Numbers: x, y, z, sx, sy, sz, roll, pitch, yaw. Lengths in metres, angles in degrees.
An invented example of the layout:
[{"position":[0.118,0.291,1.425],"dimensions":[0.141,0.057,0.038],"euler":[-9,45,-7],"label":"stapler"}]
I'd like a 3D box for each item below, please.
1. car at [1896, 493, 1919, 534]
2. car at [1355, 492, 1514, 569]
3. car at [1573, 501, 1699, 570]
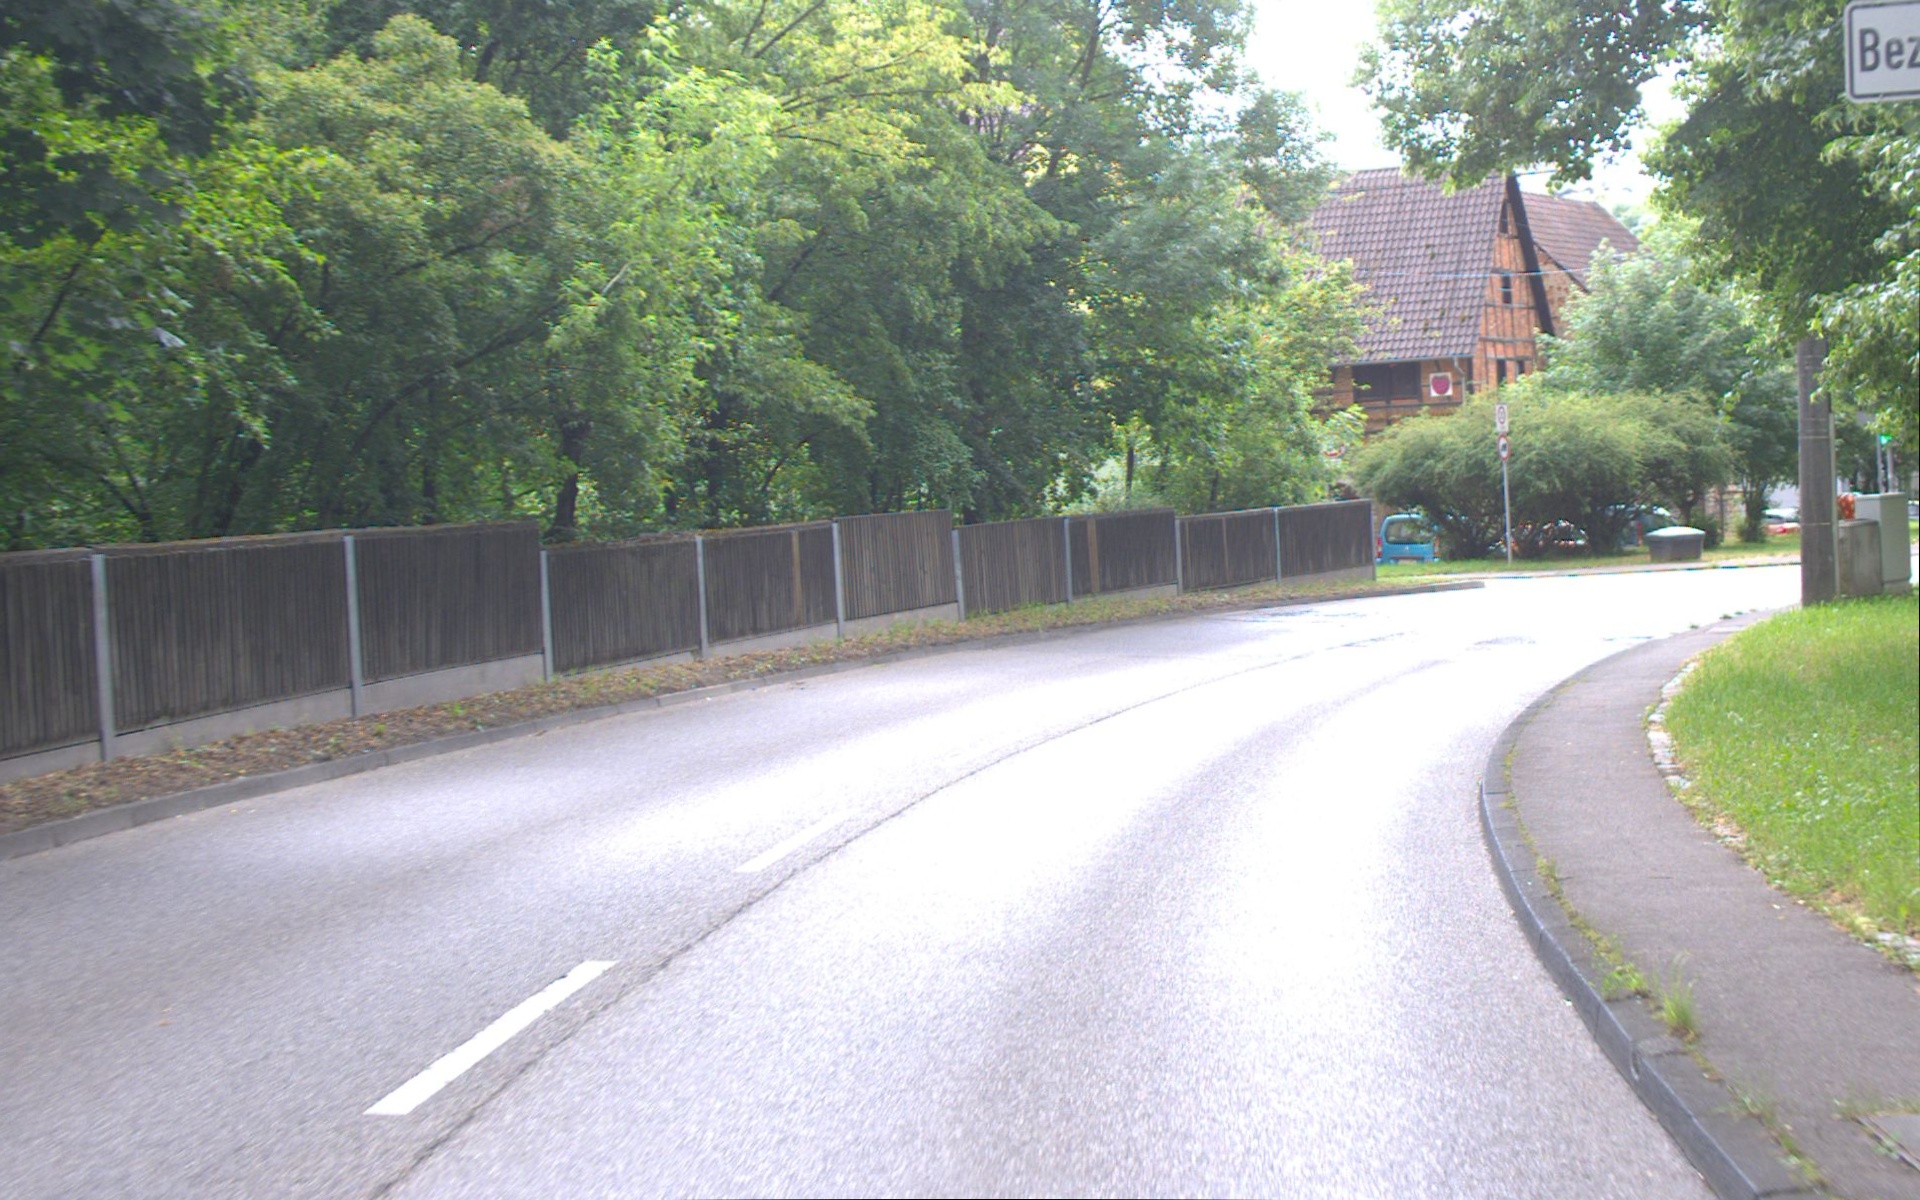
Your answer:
[{"position":[31.102,-2.811,109.573],"dimensions":[1.556,1.273,2.549],"euler":[-3,1,37],"label":"car"},{"position":[11.519,-1.692,83.254],"dimensions":[1.997,1.612,4.440],"euler":[-4,1,34],"label":"car"},{"position":[18.230,-1.747,92.598],"dimensions":[1.815,1.612,3.993],"euler":[-4,1,34],"label":"car"}]
